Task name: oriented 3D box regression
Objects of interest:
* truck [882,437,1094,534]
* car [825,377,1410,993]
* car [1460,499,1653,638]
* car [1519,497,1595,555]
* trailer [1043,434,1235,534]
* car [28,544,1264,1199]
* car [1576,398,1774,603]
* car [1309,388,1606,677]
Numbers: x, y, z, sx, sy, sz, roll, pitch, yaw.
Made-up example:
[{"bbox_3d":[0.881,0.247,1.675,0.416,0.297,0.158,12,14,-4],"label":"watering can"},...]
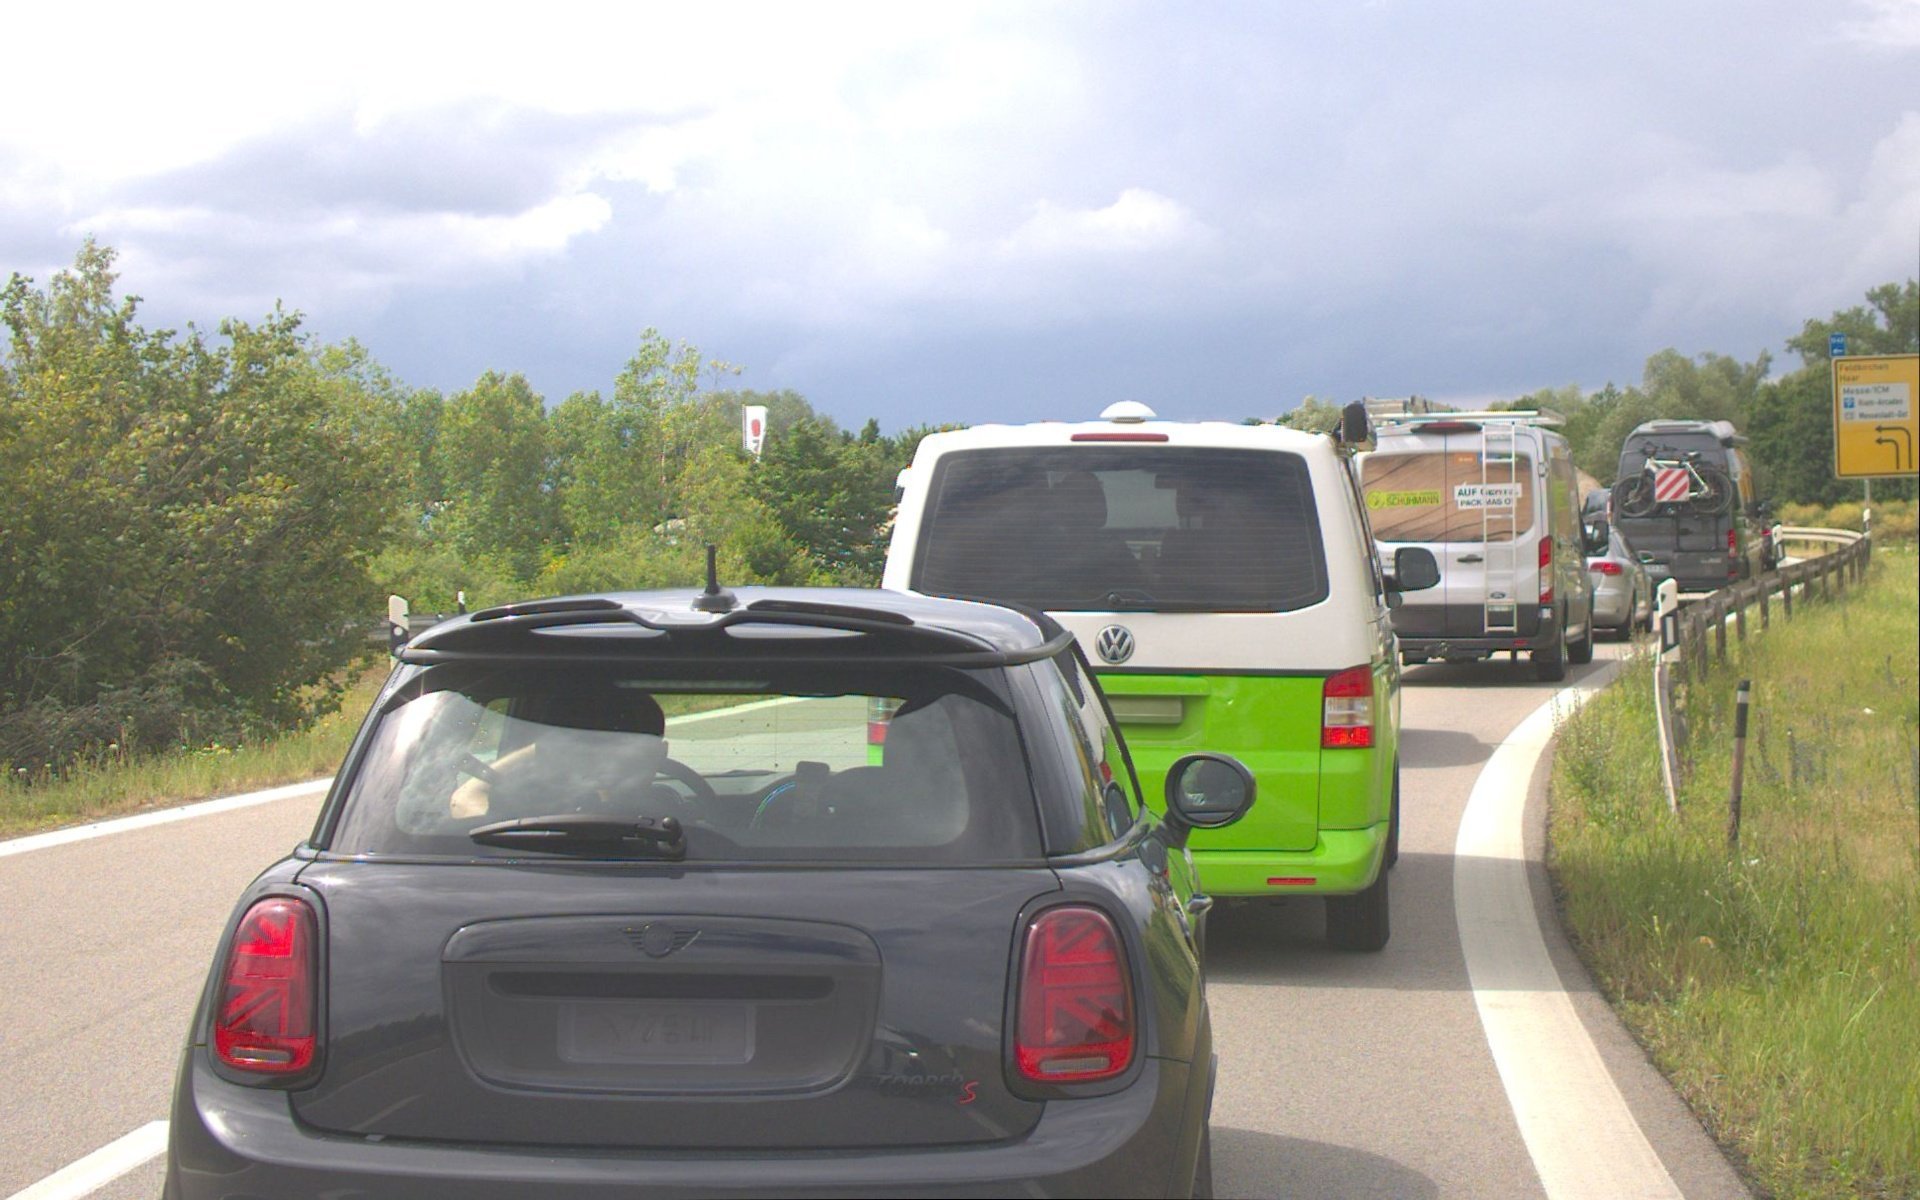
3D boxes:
[{"bbox_3d":[1.121,-4.853,147.224,2.838,3.962,10.024,0,1,-44],"label":"truck"},{"bbox_3d":[0.786,0.245,13.575,1.911,2.038,4.180,0,1,8],"label":"car"},{"bbox_3d":[7.495,-0.394,42.927,1.995,1.636,3.926,1,1,15],"label":"car"},{"bbox_3d":[20.299,-2.492,117.028,2.095,1.876,4.494,1,1,5],"label":"car"},{"bbox_3d":[7.219,-4.677,140.091,3.036,3.884,8.772,0,1,-35],"label":"trailer"},{"bbox_3d":[-0.352,0.671,6.845,1.800,1.541,3.738,0,1,4],"label":"car"},{"bbox_3d":[11.482,-1.524,54.833,2.313,3.058,6.656,1,1,18],"label":"car"},{"bbox_3d":[5.038,-0.647,34.106,2.213,2.613,5.530,1,1,15],"label":"car"}]
